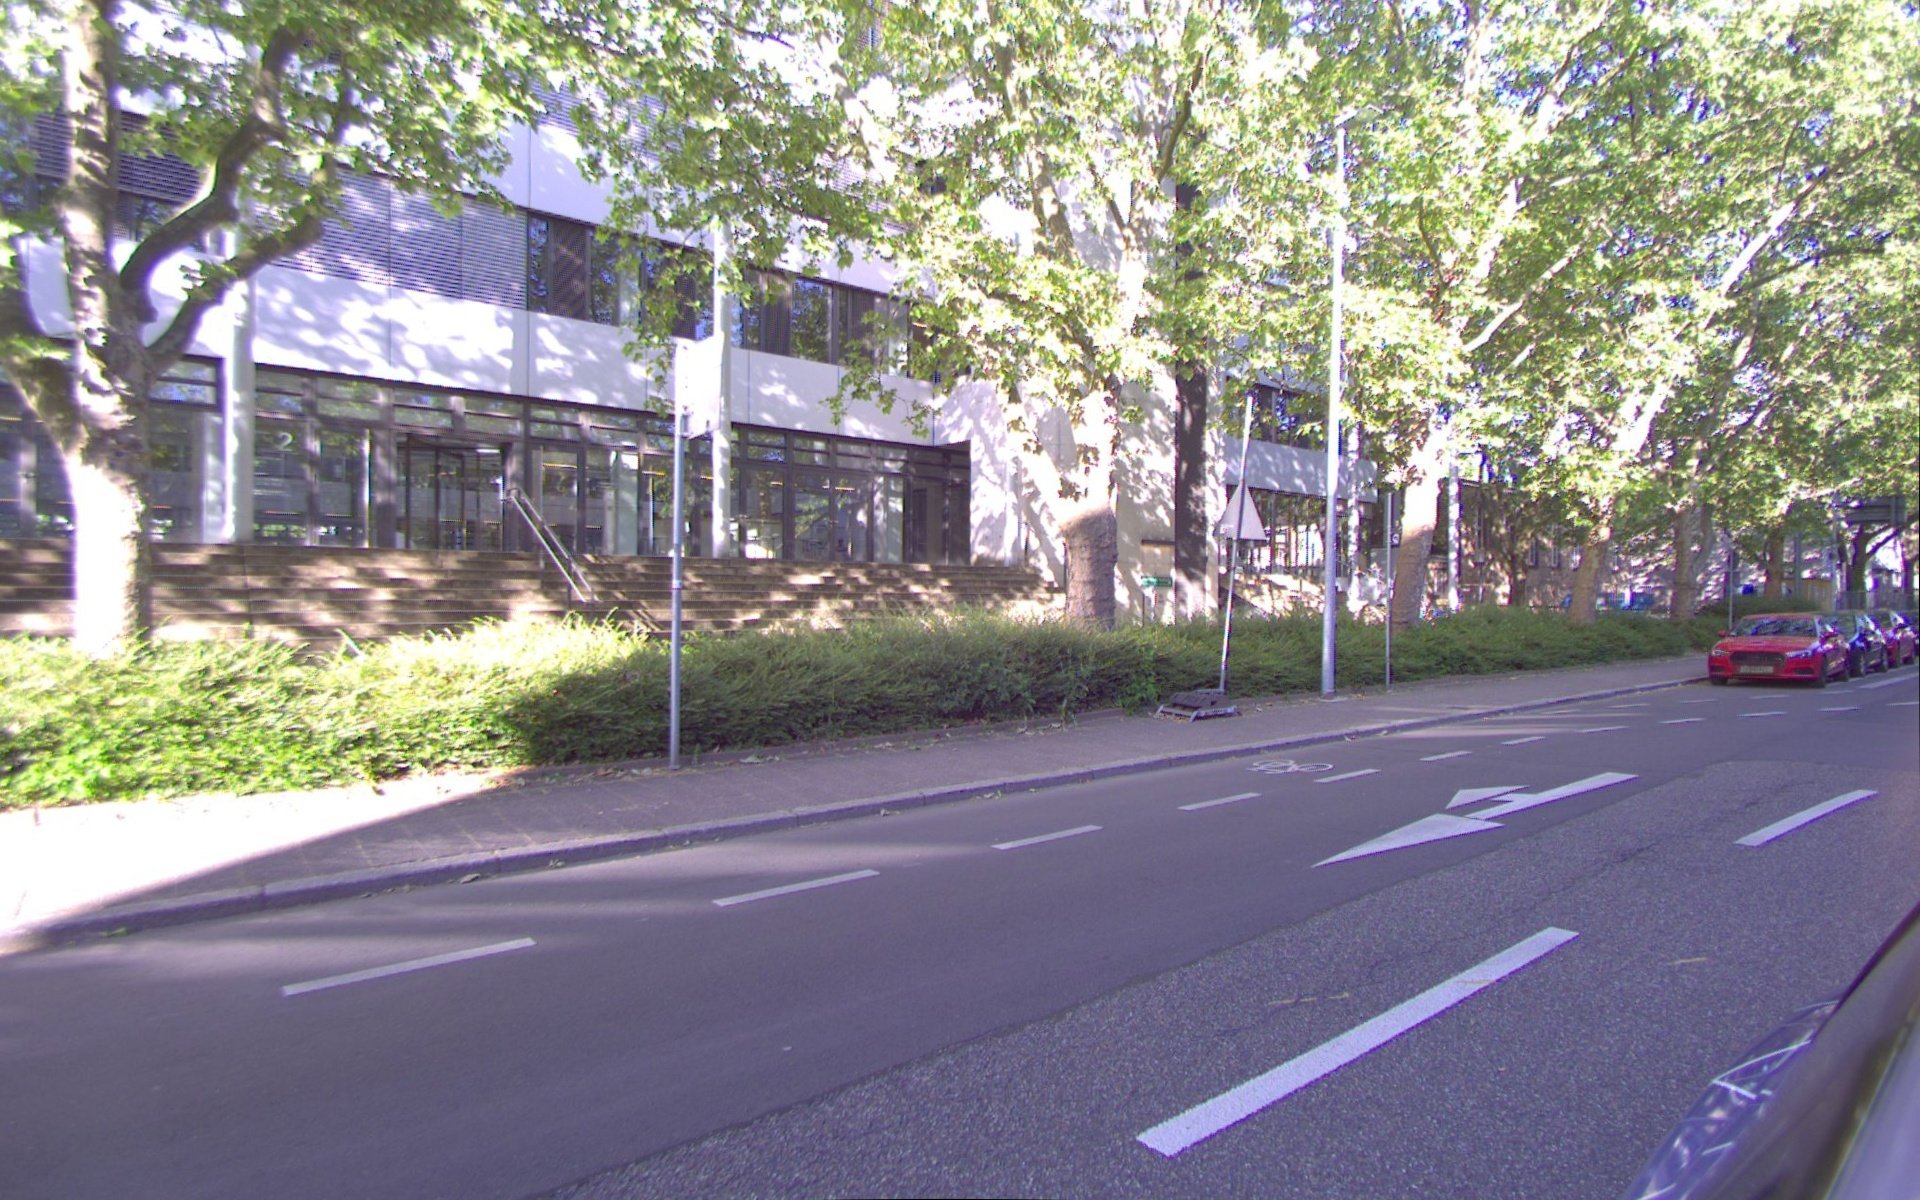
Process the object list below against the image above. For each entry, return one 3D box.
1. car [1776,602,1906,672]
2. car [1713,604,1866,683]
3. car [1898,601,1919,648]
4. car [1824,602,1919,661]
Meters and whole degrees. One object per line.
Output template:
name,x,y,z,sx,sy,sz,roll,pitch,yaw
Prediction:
car,20.447,0.794,23.437,3.929,1.486,1.685,0,-1,-40
car,16.827,0.836,20.478,3.960,1.439,1.722,0,-2,-41
car,31.825,0.771,32.776,3.929,1.469,1.685,0,0,-40
car,24.310,0.775,26.758,3.714,1.452,1.665,0,0,-40
